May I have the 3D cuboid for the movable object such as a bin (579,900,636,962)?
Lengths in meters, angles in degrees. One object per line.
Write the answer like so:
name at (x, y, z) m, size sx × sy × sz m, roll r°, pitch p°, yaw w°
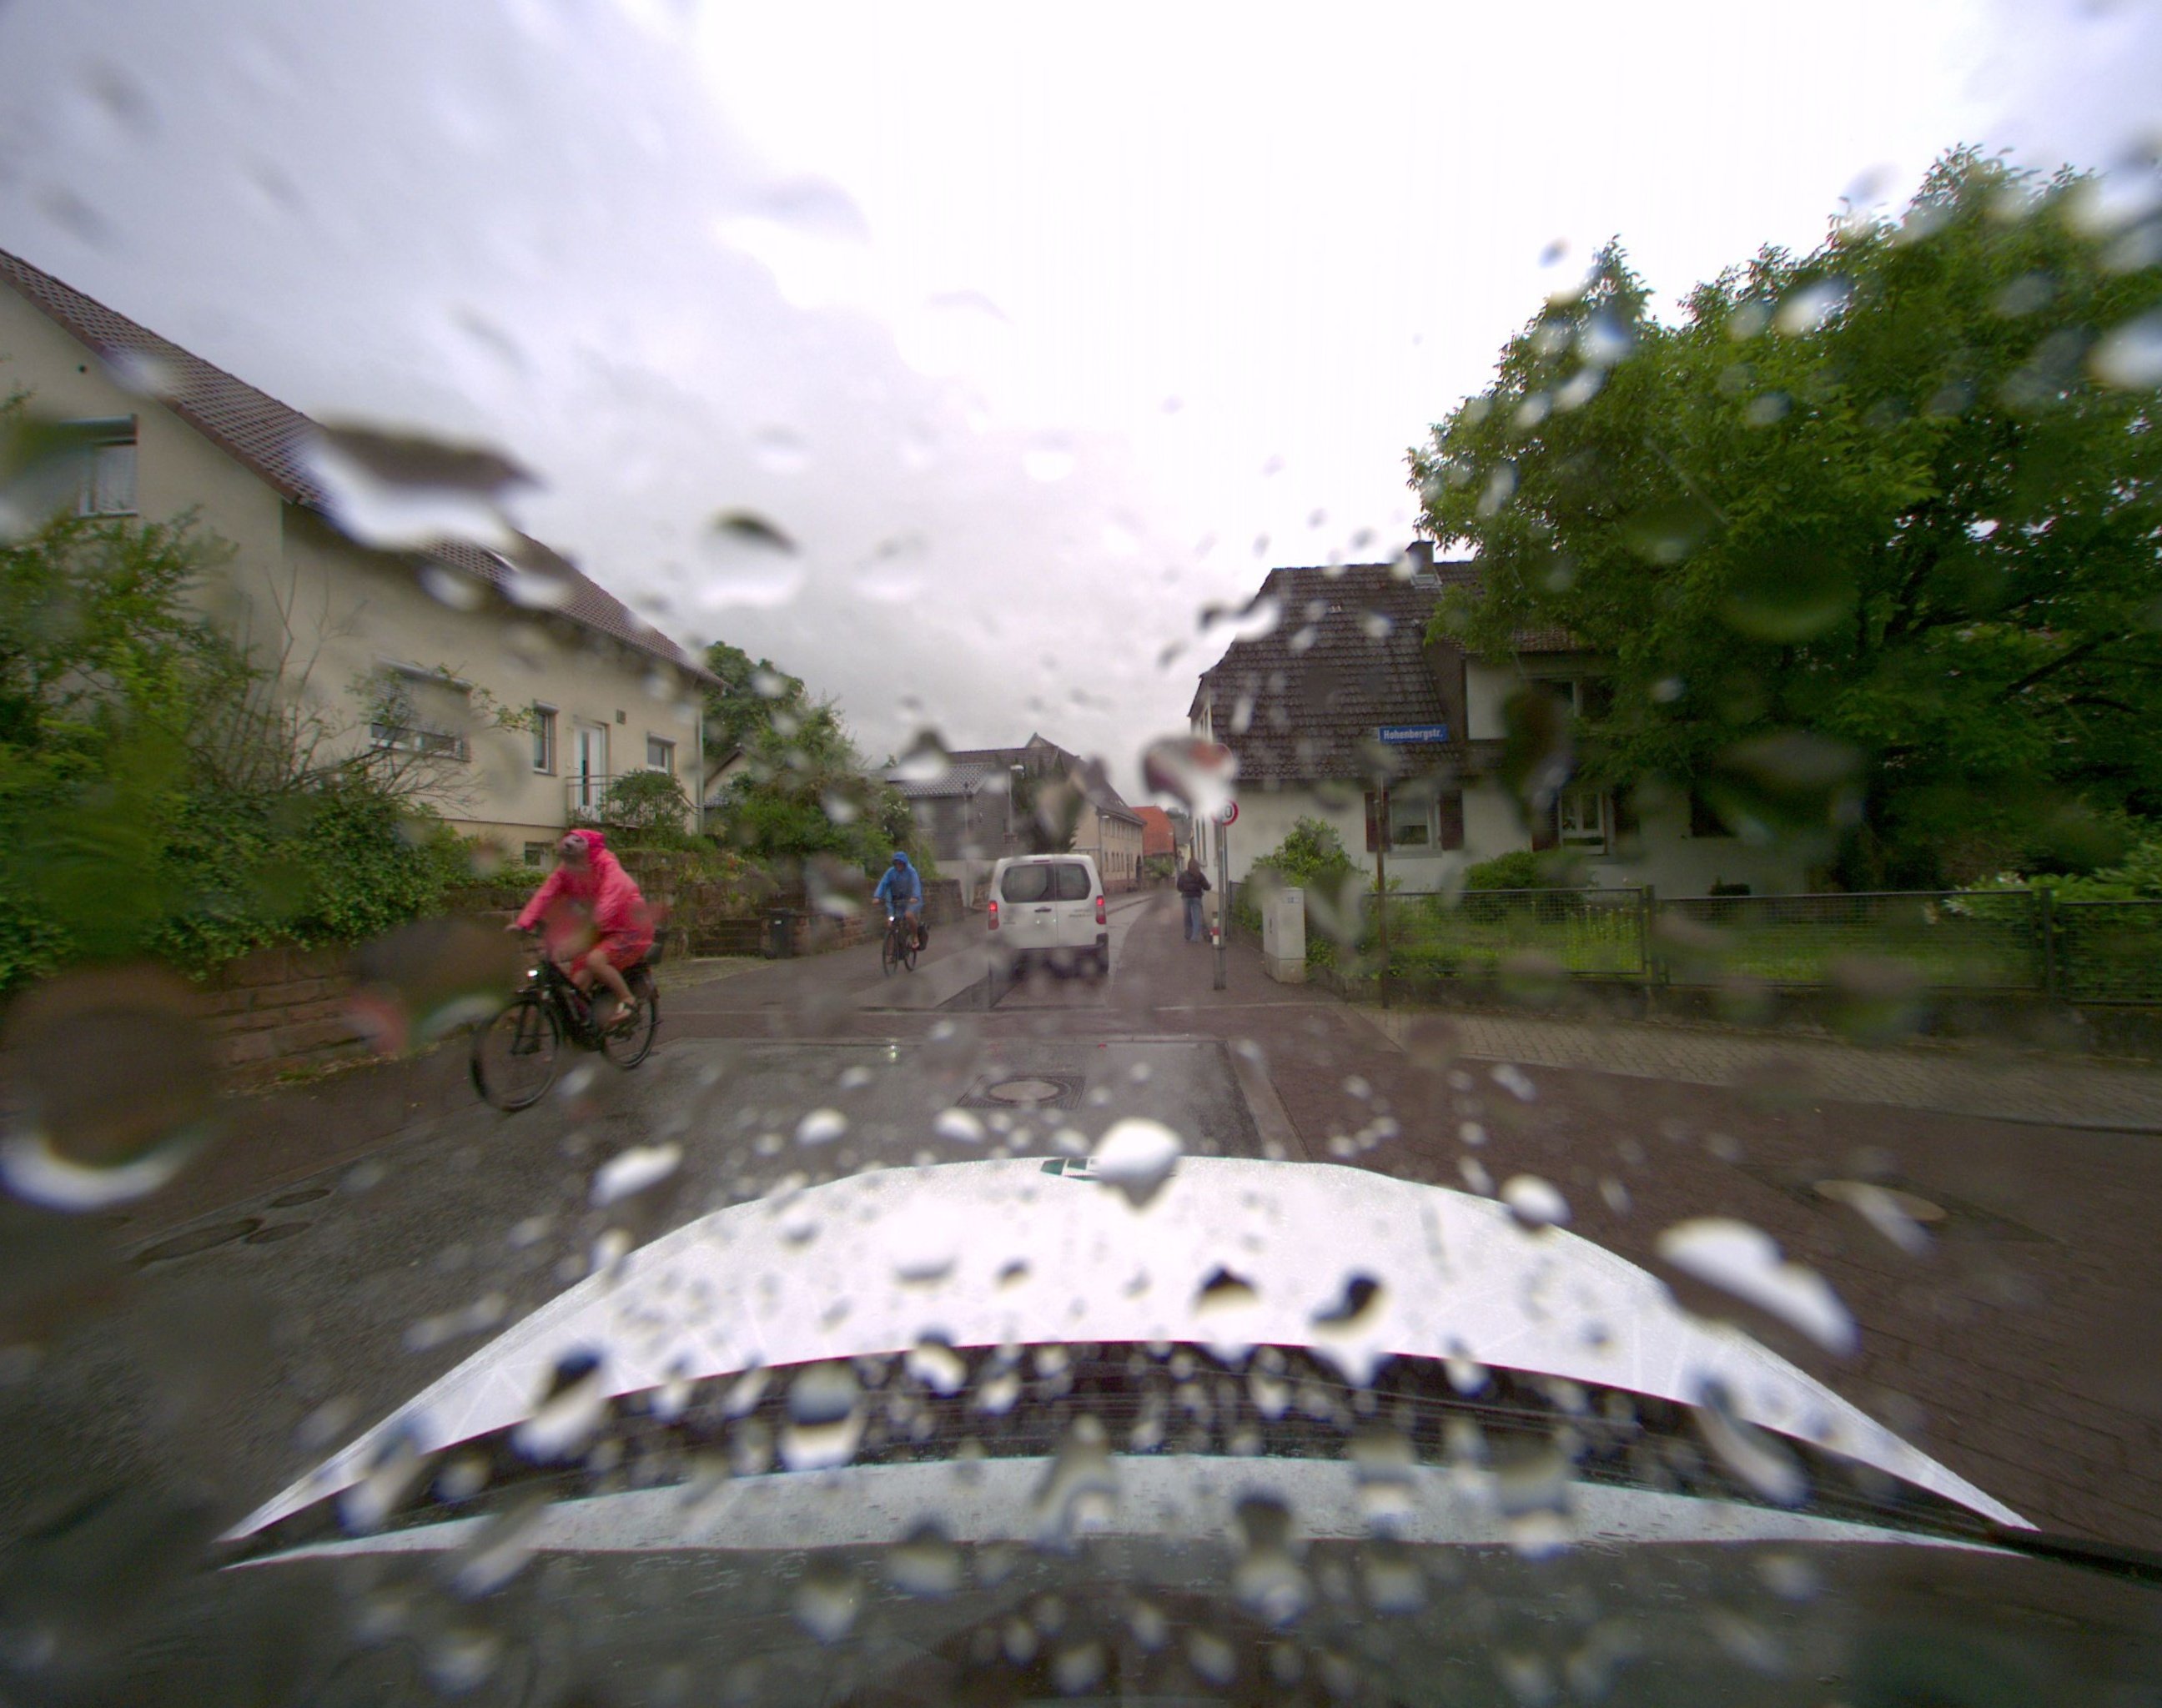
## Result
movable object such as a bin at (-8.659, 1.405, 14.923) m, size 0.619 × 1.063 × 0.656 m, roll -1°, pitch 0°, yaw 5°

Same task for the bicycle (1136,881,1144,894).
bicycle at (5.835, 3.308, 80.239) m, size 0.479 × 1.180 × 1.842 m, roll -1°, pitch -3°, yaw 16°

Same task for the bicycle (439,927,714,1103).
bicycle at (-3.492, 1.060, 5.893) m, size 0.658 × 0.870 × 1.937 m, roll 0°, pitch 0°, yaw 5°

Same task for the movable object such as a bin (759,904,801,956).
movable object such as a bin at (-5.559, 1.397, 15.071) m, size 0.536 × 0.930 × 0.545 m, roll 0°, pitch -3°, yaw 2°

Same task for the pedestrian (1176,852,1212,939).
pedestrian at (2.306, 0.836, 16.687) m, size 0.691 × 1.732 × 0.822 m, roll 0°, pitch -1°, yaw 4°

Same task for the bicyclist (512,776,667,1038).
bicyclist at (-3.509, 0.360, 5.870) m, size 0.654 × 1.770 × 0.704 m, roll 0°, pitch 0°, yaw 4°

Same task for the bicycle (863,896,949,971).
bicycle at (-2.716, 1.214, 12.936) m, size 0.677 × 1.051 × 2.341 m, roll 0°, pitch -2°, yaw 5°

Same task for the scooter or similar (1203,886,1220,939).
scooter or similar at (2.648, 1.168, 16.583) m, size 0.244 × 1.028 × 1.101 m, roll 0°, pitch -1°, yaw 4°

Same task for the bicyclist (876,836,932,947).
bicyclist at (-2.791, 0.590, 12.901) m, size 0.684 × 1.713 × 0.704 m, roll 0°, pitch -3°, yaw 4°

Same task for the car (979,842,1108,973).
car at (-0.666, 0.839, 13.433) m, size 1.791 × 1.819 × 4.094 m, roll 0°, pitch -3°, yaw -4°
